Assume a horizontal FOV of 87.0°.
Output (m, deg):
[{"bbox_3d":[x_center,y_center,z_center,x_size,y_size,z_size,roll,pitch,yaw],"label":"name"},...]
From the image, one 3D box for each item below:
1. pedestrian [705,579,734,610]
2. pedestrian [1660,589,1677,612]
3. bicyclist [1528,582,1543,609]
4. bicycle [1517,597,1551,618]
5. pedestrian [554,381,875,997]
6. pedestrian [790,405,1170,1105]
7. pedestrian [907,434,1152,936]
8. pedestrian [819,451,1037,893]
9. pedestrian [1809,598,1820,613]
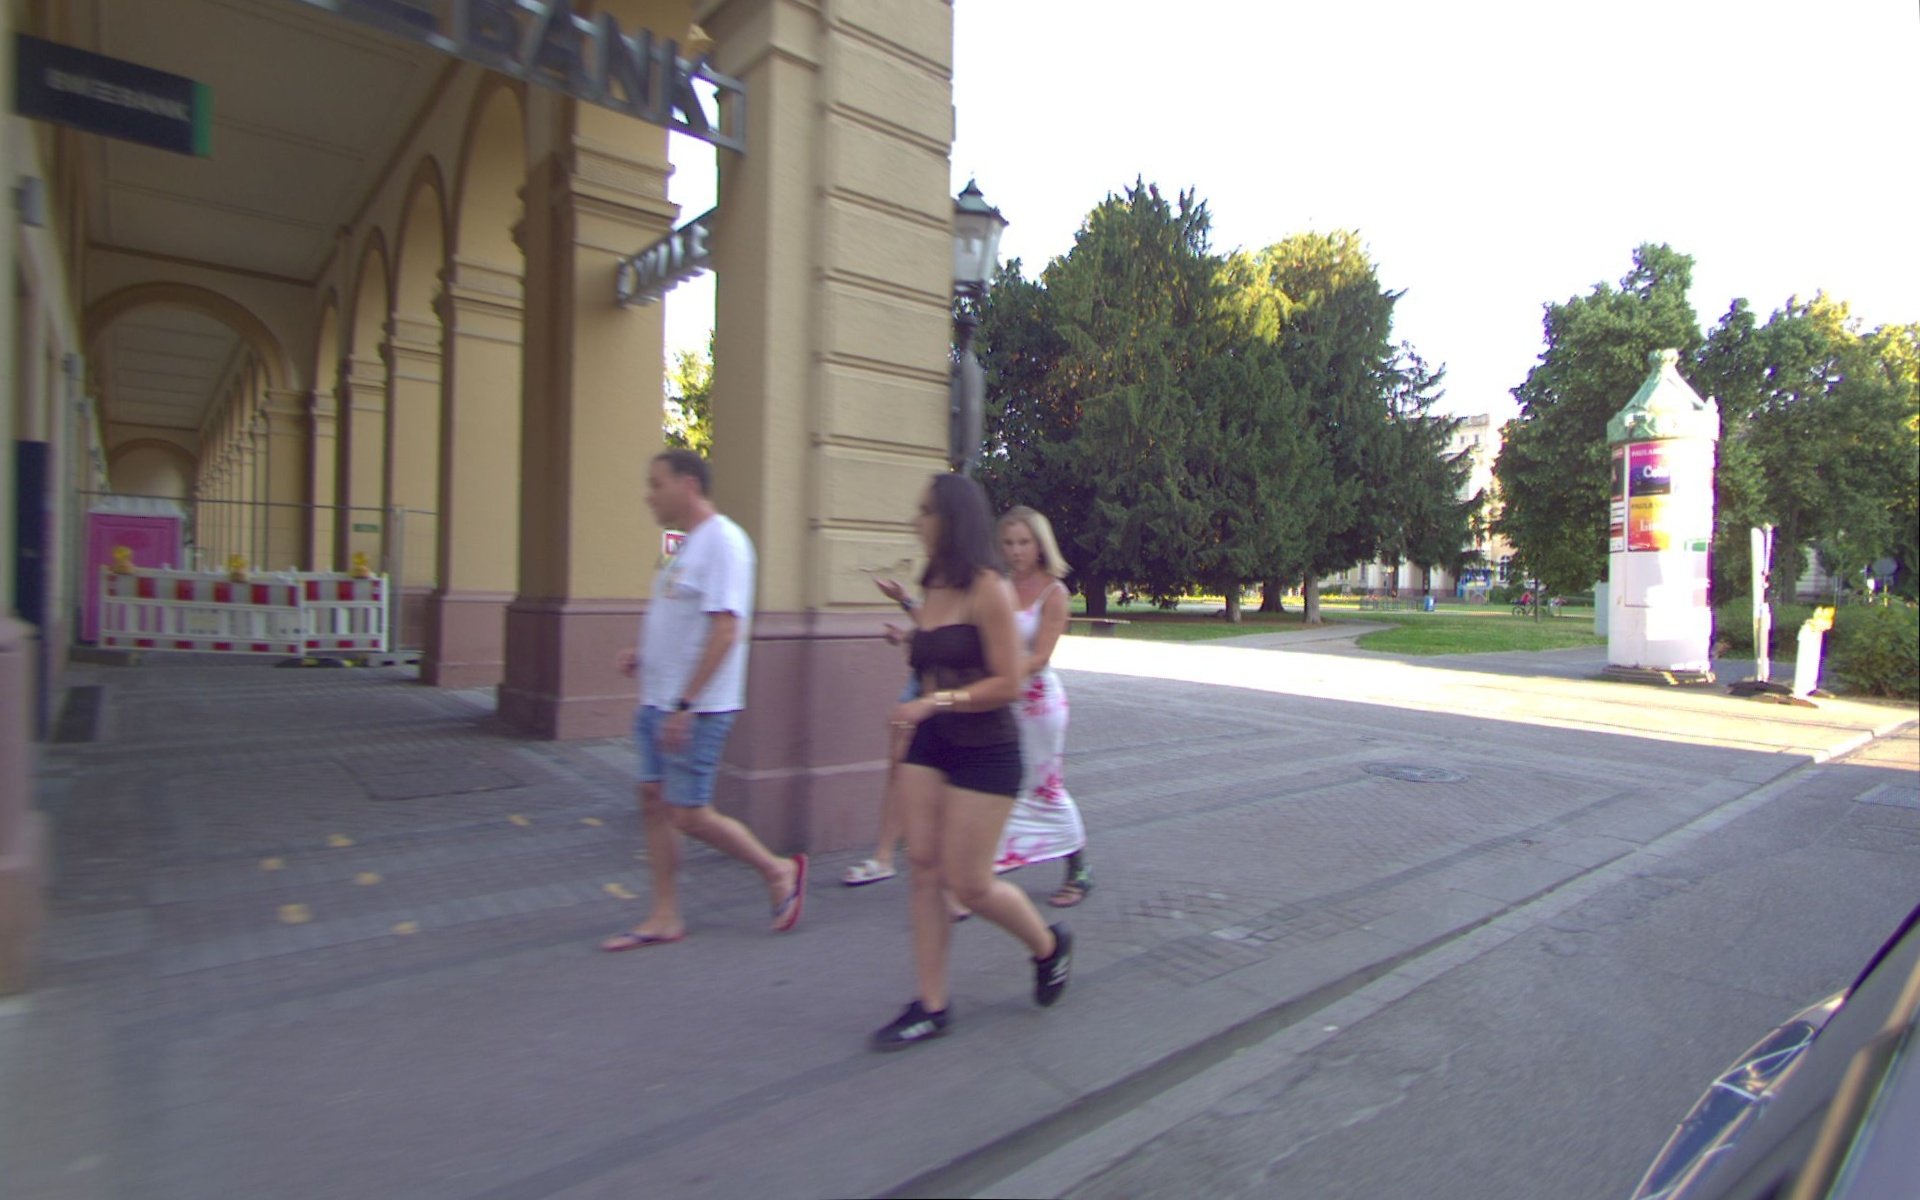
[{"bbox_3d":[-10.101,-0.230,42.501,0.912,1.267,0.708,0,1,-45],"label":"pedestrian"},{"bbox_3d":[52.867,0.038,75.481,0.744,1.646,0.858,1,1,-40],"label":"pedestrian"},{"bbox_3d":[35.653,-0.300,62.711,0.668,1.652,0.656,1,1,16],"label":"bicyclist"},{"bbox_3d":[35.577,0.463,62.737,1.750,1.191,0.563,1,1,16],"label":"bicycle"},{"bbox_3d":[-0.906,0.264,3.707,0.860,1.898,0.813,0,1,-41],"label":"pedestrian"},{"bbox_3d":[0.055,0.381,3.129,0.860,1.768,0.777,0,1,-41],"label":"pedestrian"},{"bbox_3d":[0.287,0.301,4.168,0.758,1.825,0.637,0,1,-41],"label":"pedestrian"},{"bbox_3d":[-0.148,0.289,4.667,0.758,1.825,0.637,0,1,-41],"label":"pedestrian"},{"bbox_3d":[72.662,0.465,86.051,0.594,1.217,0.394,1,1,10],"label":"pedestrian"}]
